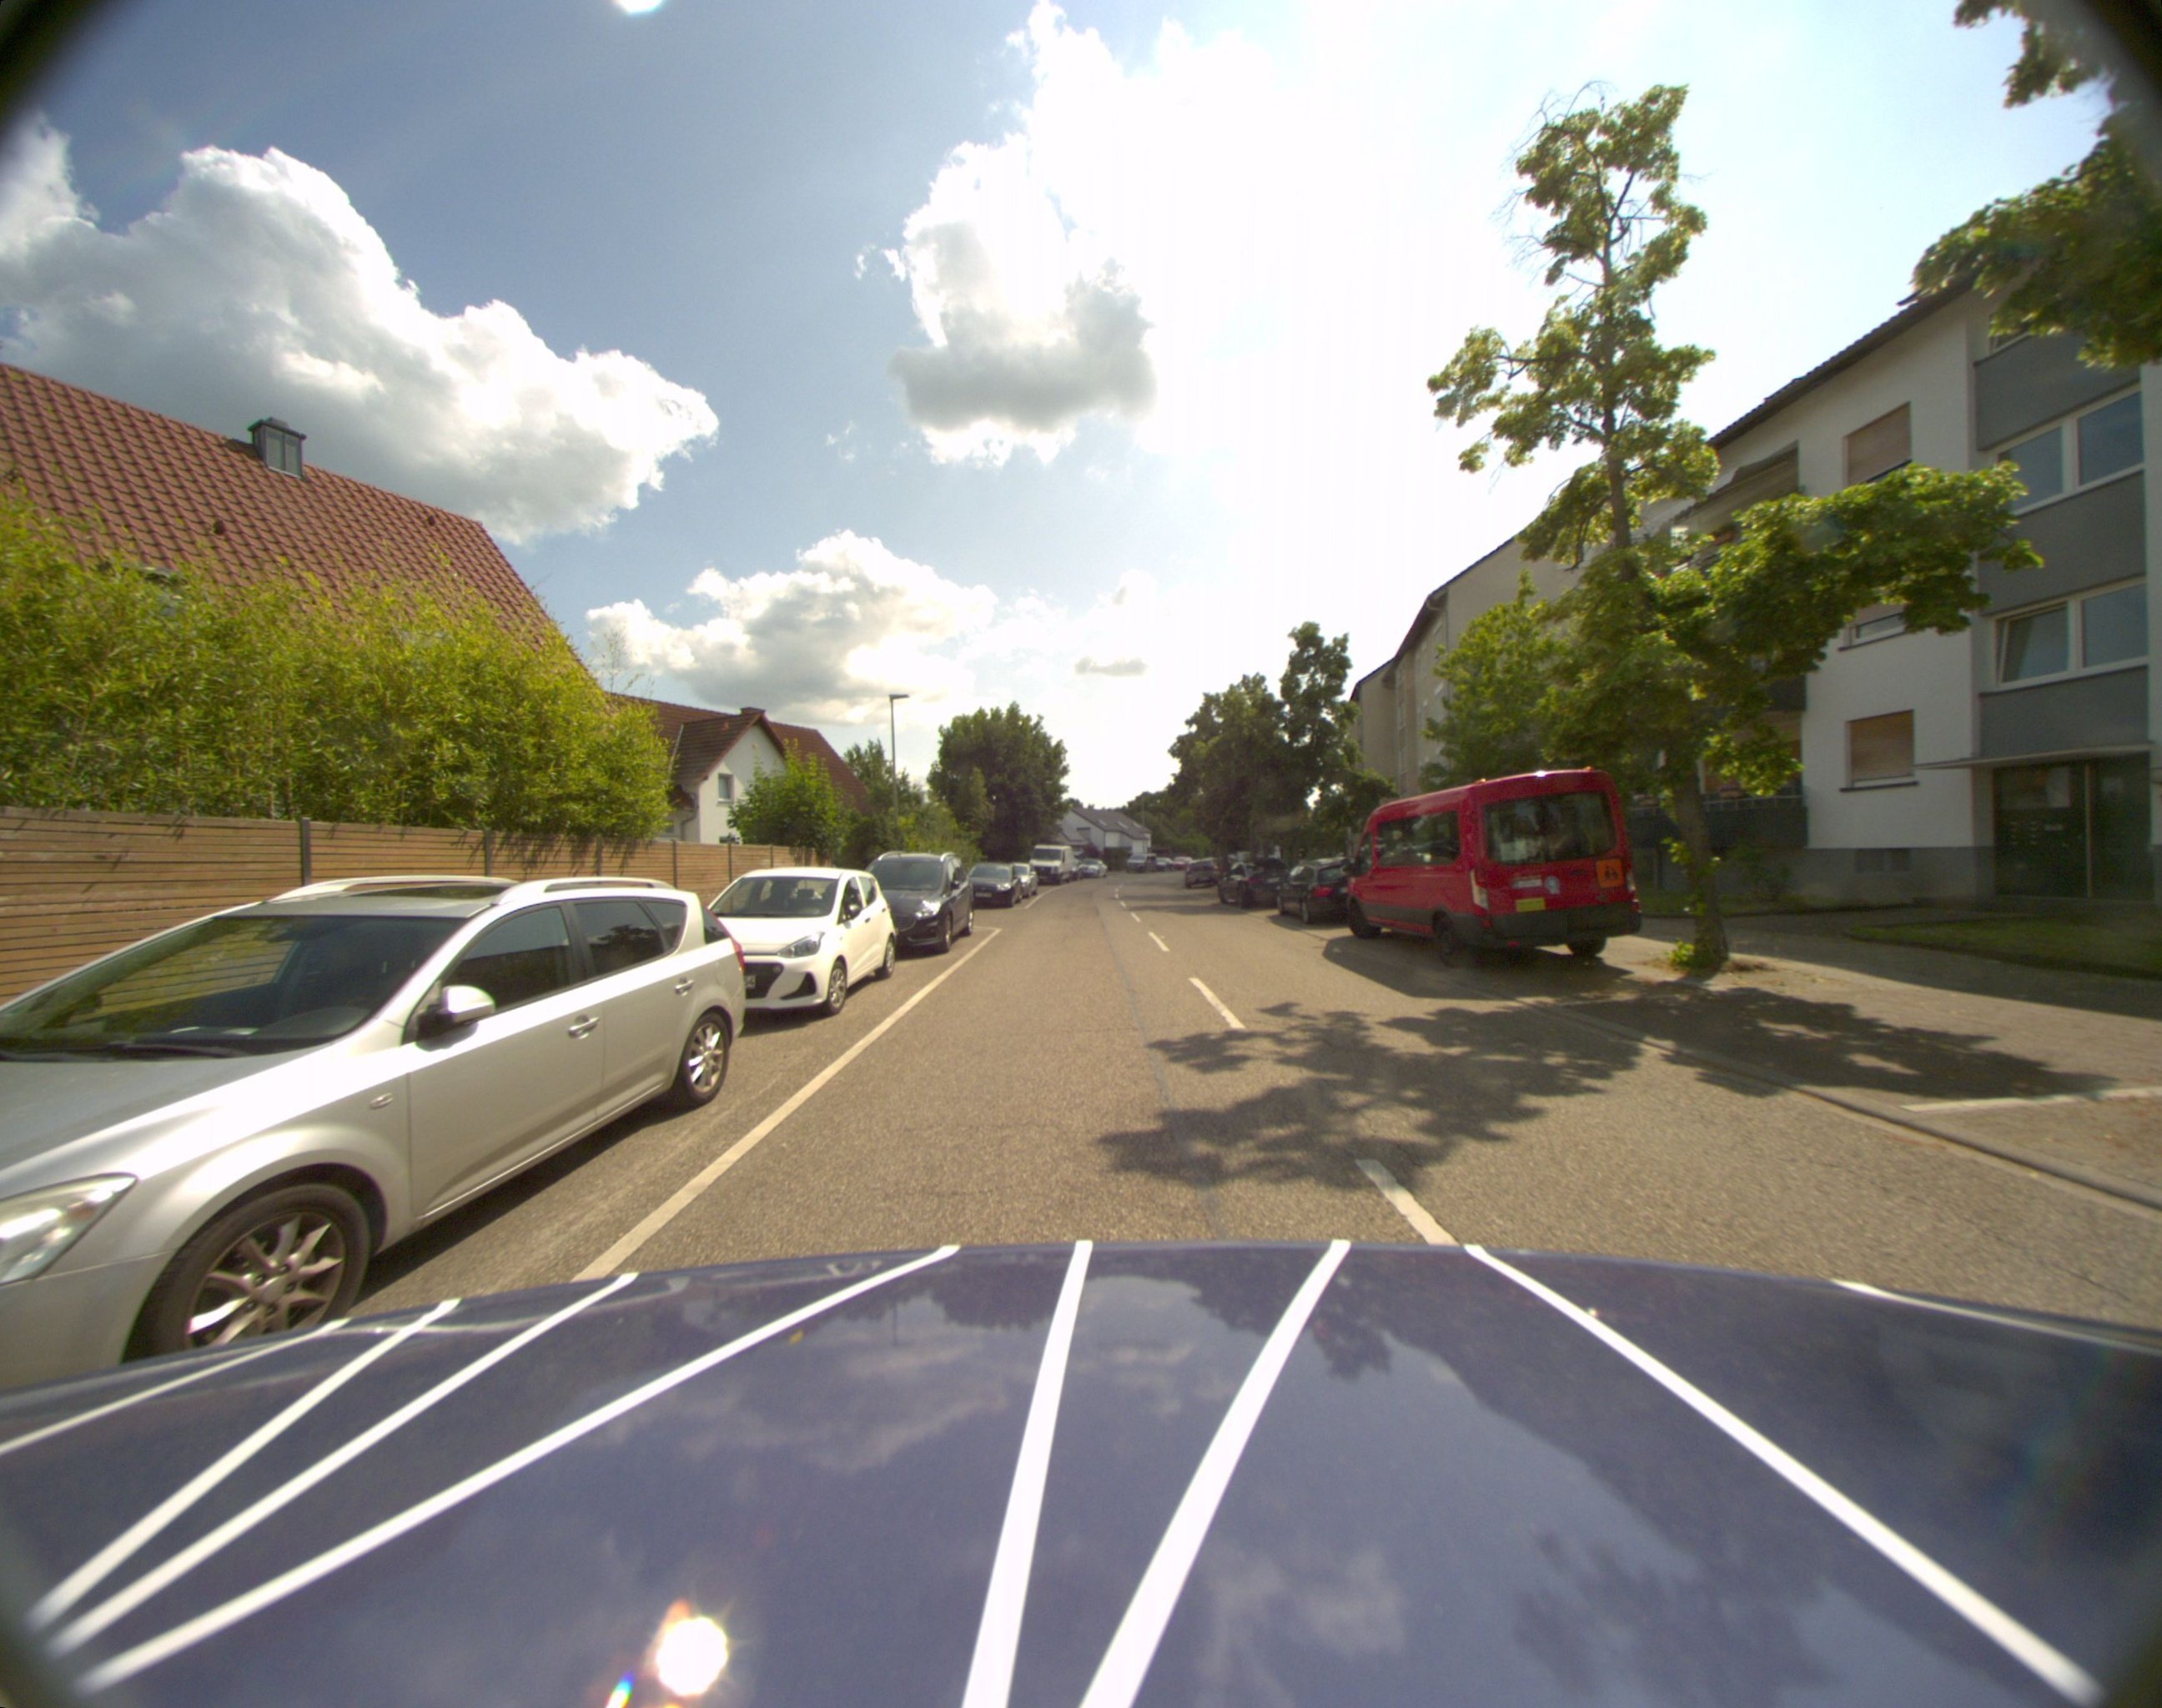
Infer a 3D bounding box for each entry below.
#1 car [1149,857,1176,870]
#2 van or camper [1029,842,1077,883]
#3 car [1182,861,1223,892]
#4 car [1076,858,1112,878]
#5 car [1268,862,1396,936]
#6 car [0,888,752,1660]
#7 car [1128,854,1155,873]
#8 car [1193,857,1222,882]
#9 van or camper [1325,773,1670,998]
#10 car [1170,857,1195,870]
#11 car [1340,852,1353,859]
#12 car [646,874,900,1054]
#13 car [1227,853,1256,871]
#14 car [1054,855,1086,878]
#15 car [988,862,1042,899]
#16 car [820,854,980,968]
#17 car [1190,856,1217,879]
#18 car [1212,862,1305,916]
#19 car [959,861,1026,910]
[{"bbox_3d":[8.766,1.016,81.573,1.841,1.410,3.895,-1,0,22],"label":"car"},{"bbox_3d":[-1.641,0.541,46.649,1.972,2.345,5.762,0,0,7],"label":"van or camper"},{"bbox_3d":[6.501,1.176,40.934,1.758,1.410,4.001,-5,0,4],"label":"car"},{"bbox_3d":[1.051,1.112,59.834,1.817,1.513,4.270,0,0,15],"label":"car"},{"bbox_3d":[5.923,0.995,18.520,1.692,1.428,4.465,-4,0,2],"label":"car"},{"bbox_3d":[-3.271,1.034,3.321,1.749,1.543,4.292,-2,0,0],"label":"car"},{"bbox_3d":[6.034,0.926,75.623,1.838,1.855,4.286,1,0,16],"label":"car"},{"bbox_3d":[8.538,1.017,51.603,1.757,1.479,3.685,-5,-1,8],"label":"car"},{"bbox_3d":[5.950,0.397,12.165,2.153,2.534,6.224,-4,0,2],"label":"van or camper"},{"bbox_3d":[11.708,1.066,87.542,1.782,1.477,4.288,2,1,23],"label":"car"},{"bbox_3d":[51.517,0.269,147.249,1.782,1.433,3.974,-1,0,27],"label":"car"},{"bbox_3d":[-3.243,1.048,8.766,1.446,1.496,3.670,-3,0,-2],"label":"car"},{"bbox_3d":[16.232,0.767,76.831,1.819,1.714,3.689,-1,0,30],"label":"car"},{"bbox_3d":[-0.736,0.879,53.639,1.683,1.513,4.065,0,0,7],"label":"car"},{"bbox_3d":[-2.702,1.068,32.067,1.684,1.428,4.063,0,0,3],"label":"car"},{"bbox_3d":[-3.160,0.907,14.290,1.896,1.763,4.708,-1,0,-1],"label":"car"},{"bbox_3d":[9.090,1.006,56.680,1.758,1.479,3.685,-5,-1,7],"label":"car"},{"bbox_3d":[5.586,1.044,24.523,1.735,1.468,4.631,-4,0,-1],"label":"car"},{"bbox_3d":[-2.961,1.010,26.111,1.732,1.496,4.295,0,0,1],"label":"car"}]
